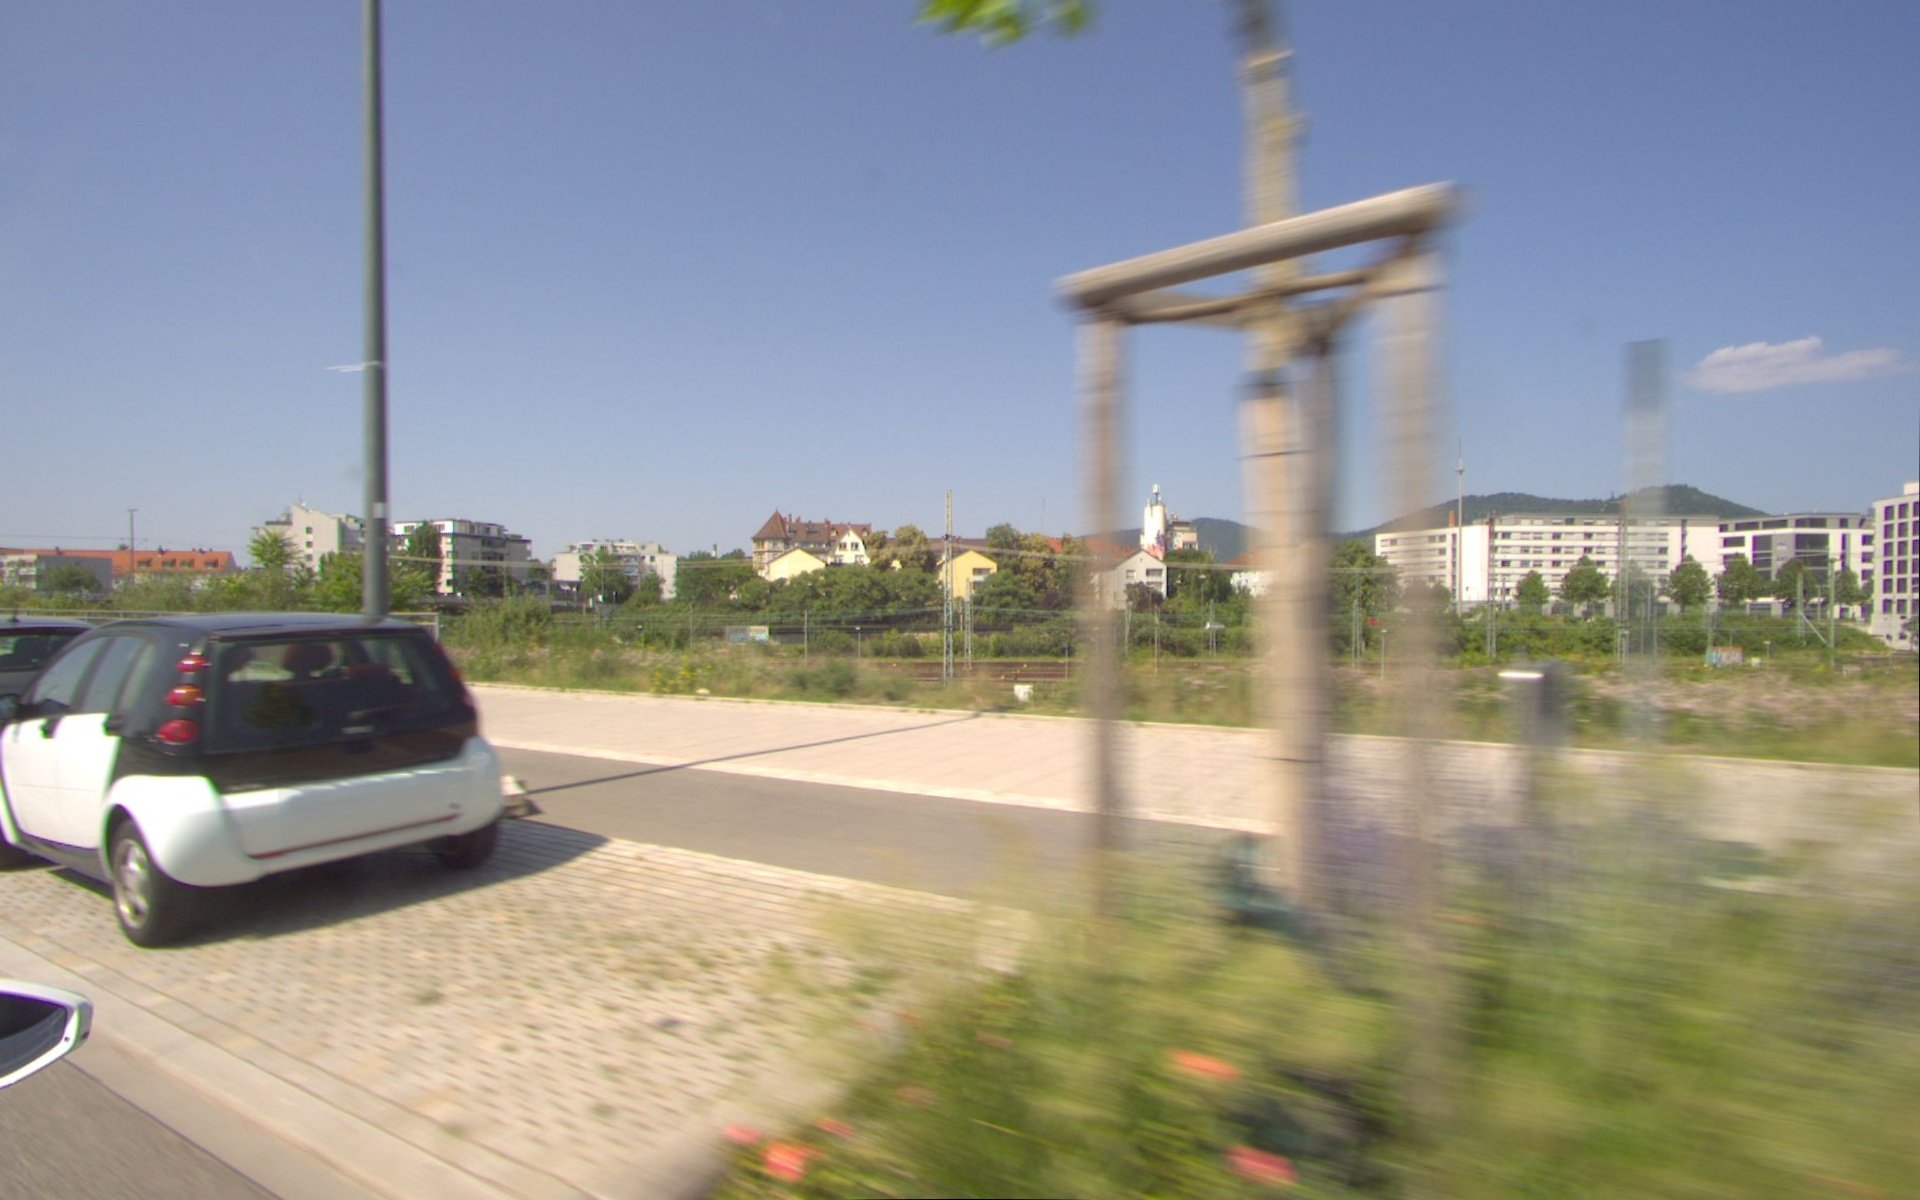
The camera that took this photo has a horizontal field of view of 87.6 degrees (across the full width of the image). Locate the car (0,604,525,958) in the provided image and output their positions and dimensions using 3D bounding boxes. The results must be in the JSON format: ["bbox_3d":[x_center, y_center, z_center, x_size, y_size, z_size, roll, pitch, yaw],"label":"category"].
[{"bbox_3d":[-4.560,0.778,6.036,4.029,1.482,1.699,0,0,35],"label":"car"}]

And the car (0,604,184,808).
[{"bbox_3d":[-8.678,0.805,8.797,3.897,1.482,1.700,0,1,32],"label":"car"}]
